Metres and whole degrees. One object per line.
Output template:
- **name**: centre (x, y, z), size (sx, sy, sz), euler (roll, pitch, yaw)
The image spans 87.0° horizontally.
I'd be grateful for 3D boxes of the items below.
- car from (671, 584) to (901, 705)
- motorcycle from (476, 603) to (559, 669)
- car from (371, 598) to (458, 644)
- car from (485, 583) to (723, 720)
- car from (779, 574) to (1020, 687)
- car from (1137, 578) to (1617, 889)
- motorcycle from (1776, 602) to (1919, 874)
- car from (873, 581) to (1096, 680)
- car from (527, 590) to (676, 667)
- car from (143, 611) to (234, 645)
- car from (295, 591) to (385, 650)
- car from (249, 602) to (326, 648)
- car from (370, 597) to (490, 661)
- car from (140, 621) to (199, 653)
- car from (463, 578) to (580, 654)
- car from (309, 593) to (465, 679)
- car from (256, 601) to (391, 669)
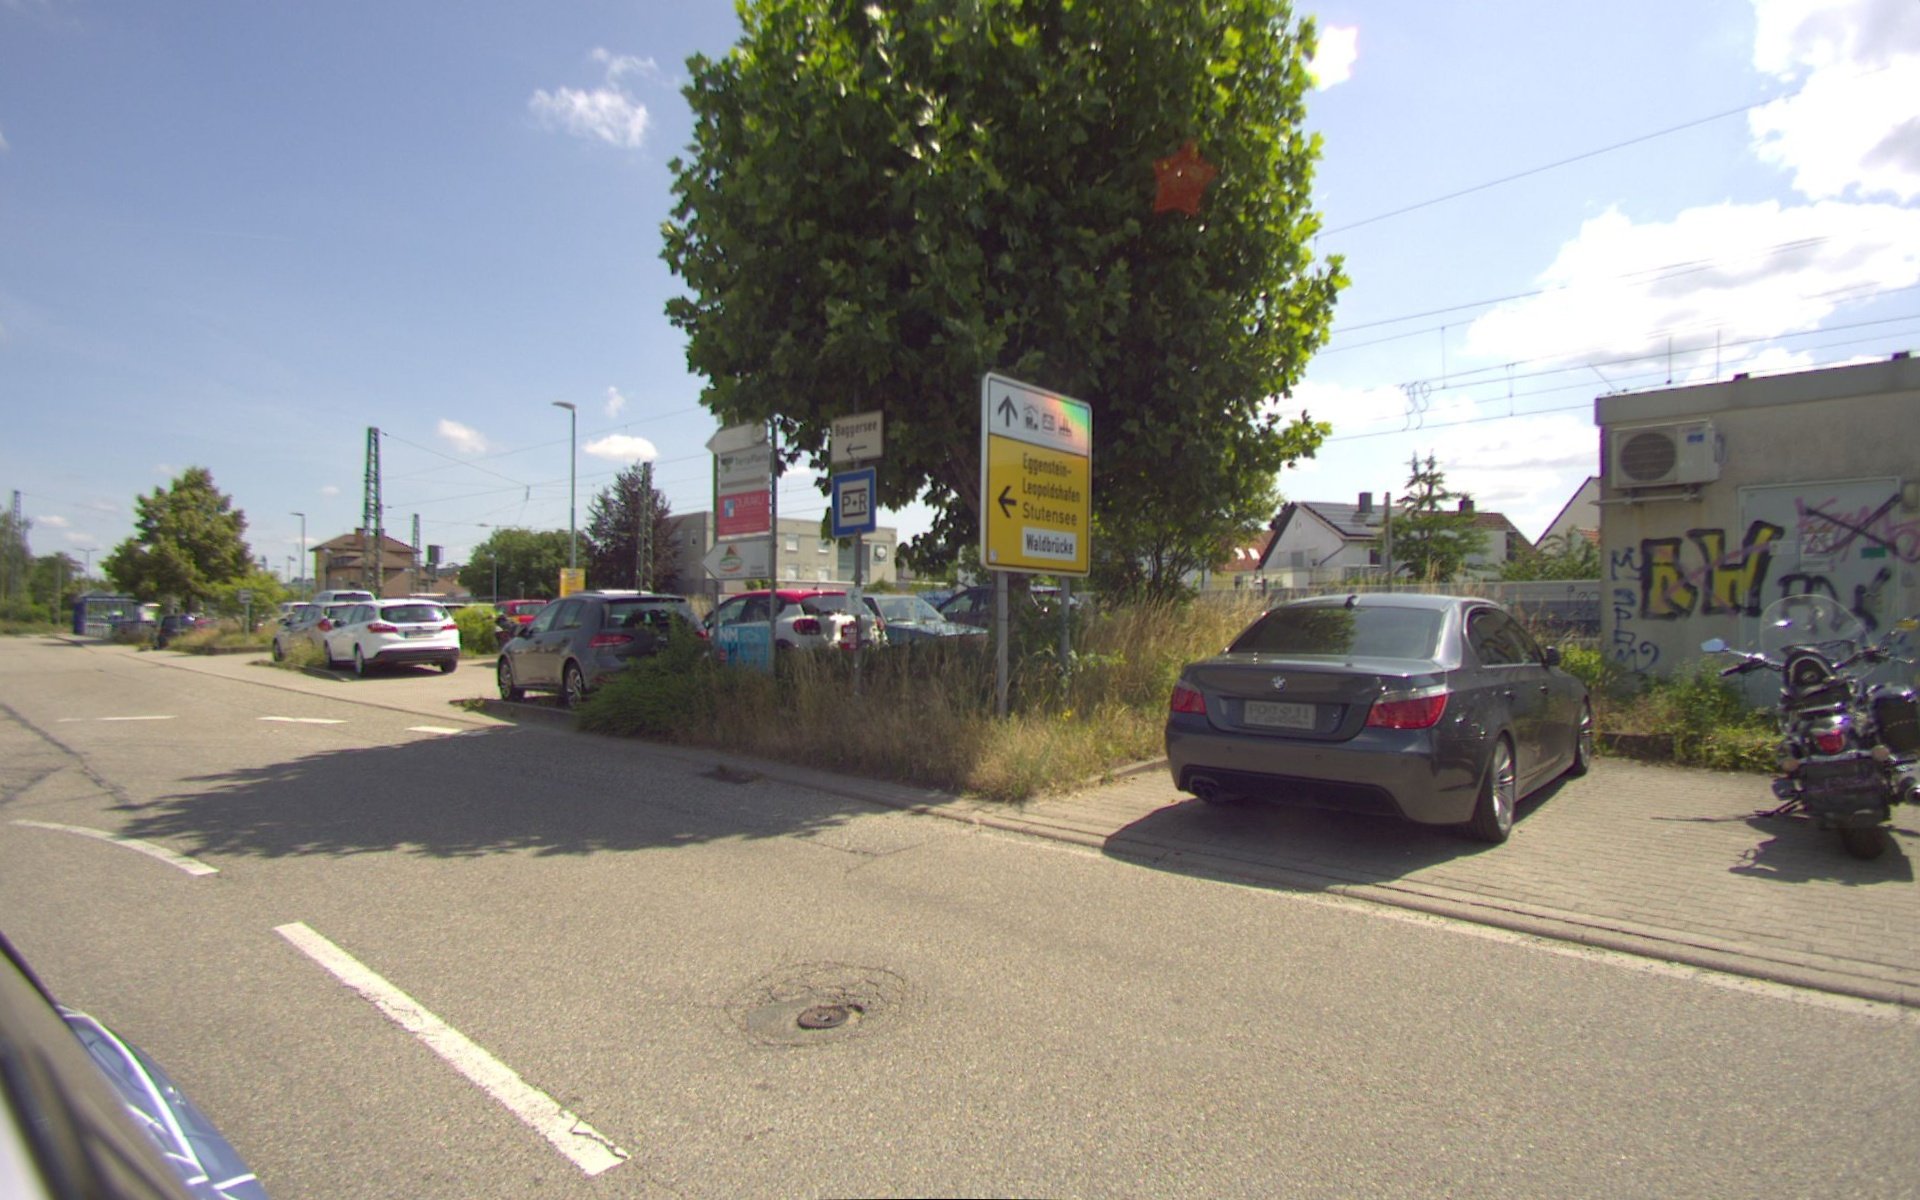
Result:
- **car**: centre (-2.656, 0.605, 14.897), size (1.769, 1.548, 3.584), euler (1, -1, -40)
- **motorcycle**: centre (-9.983, 0.782, 22.741), size (0.728, 1.383, 3.217), euler (1, -2, -42)
- **car**: centre (-20.305, 0.776, 37.585), size (1.924, 1.621, 4.278), euler (1, -1, -41)
- **car**: centre (-4.873, 0.621, 13.528), size (1.664, 1.542, 4.069), euler (1, -1, -40)
- **car**: centre (-1.120, 0.482, 16.890), size (1.969, 1.650, 4.093), euler (1, -1, -40)
- **car**: centre (3.103, 0.655, 6.909), size (1.786, 1.421, 4.381), euler (-1, -1, 40)
- **motorcycle**: centre (5.334, 0.673, 5.924), size (0.718, 1.291, 2.695), euler (-1, -1, 42)
- **car**: centre (0.362, 0.551, 19.089), size (1.969, 1.650, 4.092), euler (1, -1, -41)
- **car**: centre (-8.653, 0.661, 24.230), size (1.969, 1.670, 4.269), euler (1, -1, -40)
- **car**: centre (-39.525, 1.424, 51.904), size (1.648, 1.604, 3.395), euler (2, 0, 37)
- **car**: centre (-20.926, 0.679, 34.101), size (1.924, 1.847, 3.840), euler (1, -1, -41)
- **car**: centre (-26.021, 0.968, 39.111), size (4.002, 1.698, 1.708), euler (-1, -2, 45)
- **car**: centre (-14.249, 0.751, 27.096), size (1.779, 1.576, 4.267), euler (1, -2, -43)
- **car**: centre (-35.171, 1.609, 44.998), size (4.002, 1.360, 1.585), euler (-1, -1, 45)
- **car**: centre (-12.595, 0.455, 28.987), size (1.824, 2.029, 4.004), euler (1, -2, -43)
- **car**: centre (-11.859, 0.698, 20.824), size (1.782, 1.576, 4.265), euler (1, -2, -44)
- **car**: centre (-15.853, 0.835, 25.143), size (3.958, 1.556, 1.771), euler (-1, -1, 41)
